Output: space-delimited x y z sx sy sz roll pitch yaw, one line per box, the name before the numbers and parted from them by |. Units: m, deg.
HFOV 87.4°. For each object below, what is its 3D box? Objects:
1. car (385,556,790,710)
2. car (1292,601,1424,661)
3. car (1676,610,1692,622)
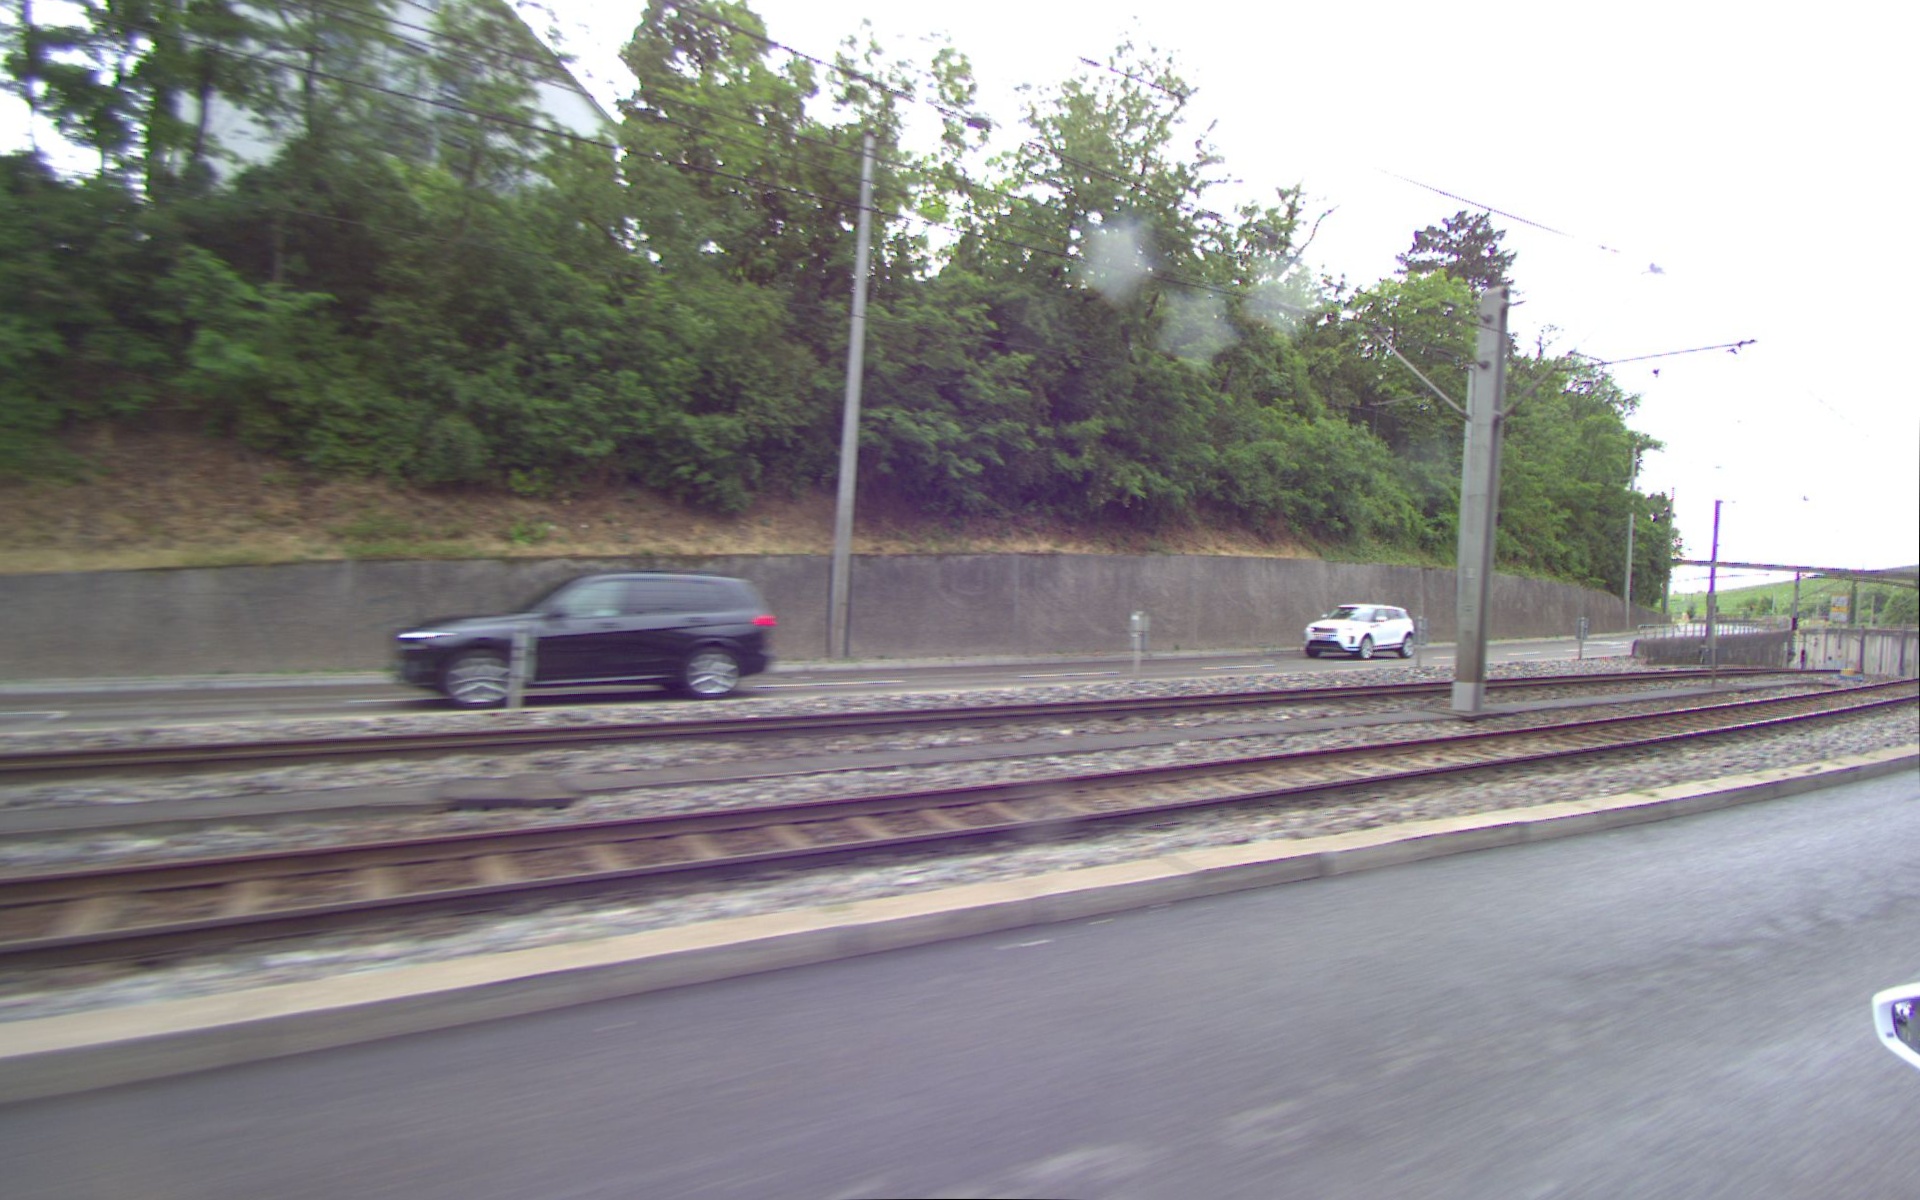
car | -5.261 0.445 14.478 5.086 1.855 2.219 1 -1 -35
car | 12.331 0.934 31.004 4.371 1.706 1.919 2 -1 -39
car | 105.272 2.356 146.090 1.793 1.726 4.098 1 -1 34
